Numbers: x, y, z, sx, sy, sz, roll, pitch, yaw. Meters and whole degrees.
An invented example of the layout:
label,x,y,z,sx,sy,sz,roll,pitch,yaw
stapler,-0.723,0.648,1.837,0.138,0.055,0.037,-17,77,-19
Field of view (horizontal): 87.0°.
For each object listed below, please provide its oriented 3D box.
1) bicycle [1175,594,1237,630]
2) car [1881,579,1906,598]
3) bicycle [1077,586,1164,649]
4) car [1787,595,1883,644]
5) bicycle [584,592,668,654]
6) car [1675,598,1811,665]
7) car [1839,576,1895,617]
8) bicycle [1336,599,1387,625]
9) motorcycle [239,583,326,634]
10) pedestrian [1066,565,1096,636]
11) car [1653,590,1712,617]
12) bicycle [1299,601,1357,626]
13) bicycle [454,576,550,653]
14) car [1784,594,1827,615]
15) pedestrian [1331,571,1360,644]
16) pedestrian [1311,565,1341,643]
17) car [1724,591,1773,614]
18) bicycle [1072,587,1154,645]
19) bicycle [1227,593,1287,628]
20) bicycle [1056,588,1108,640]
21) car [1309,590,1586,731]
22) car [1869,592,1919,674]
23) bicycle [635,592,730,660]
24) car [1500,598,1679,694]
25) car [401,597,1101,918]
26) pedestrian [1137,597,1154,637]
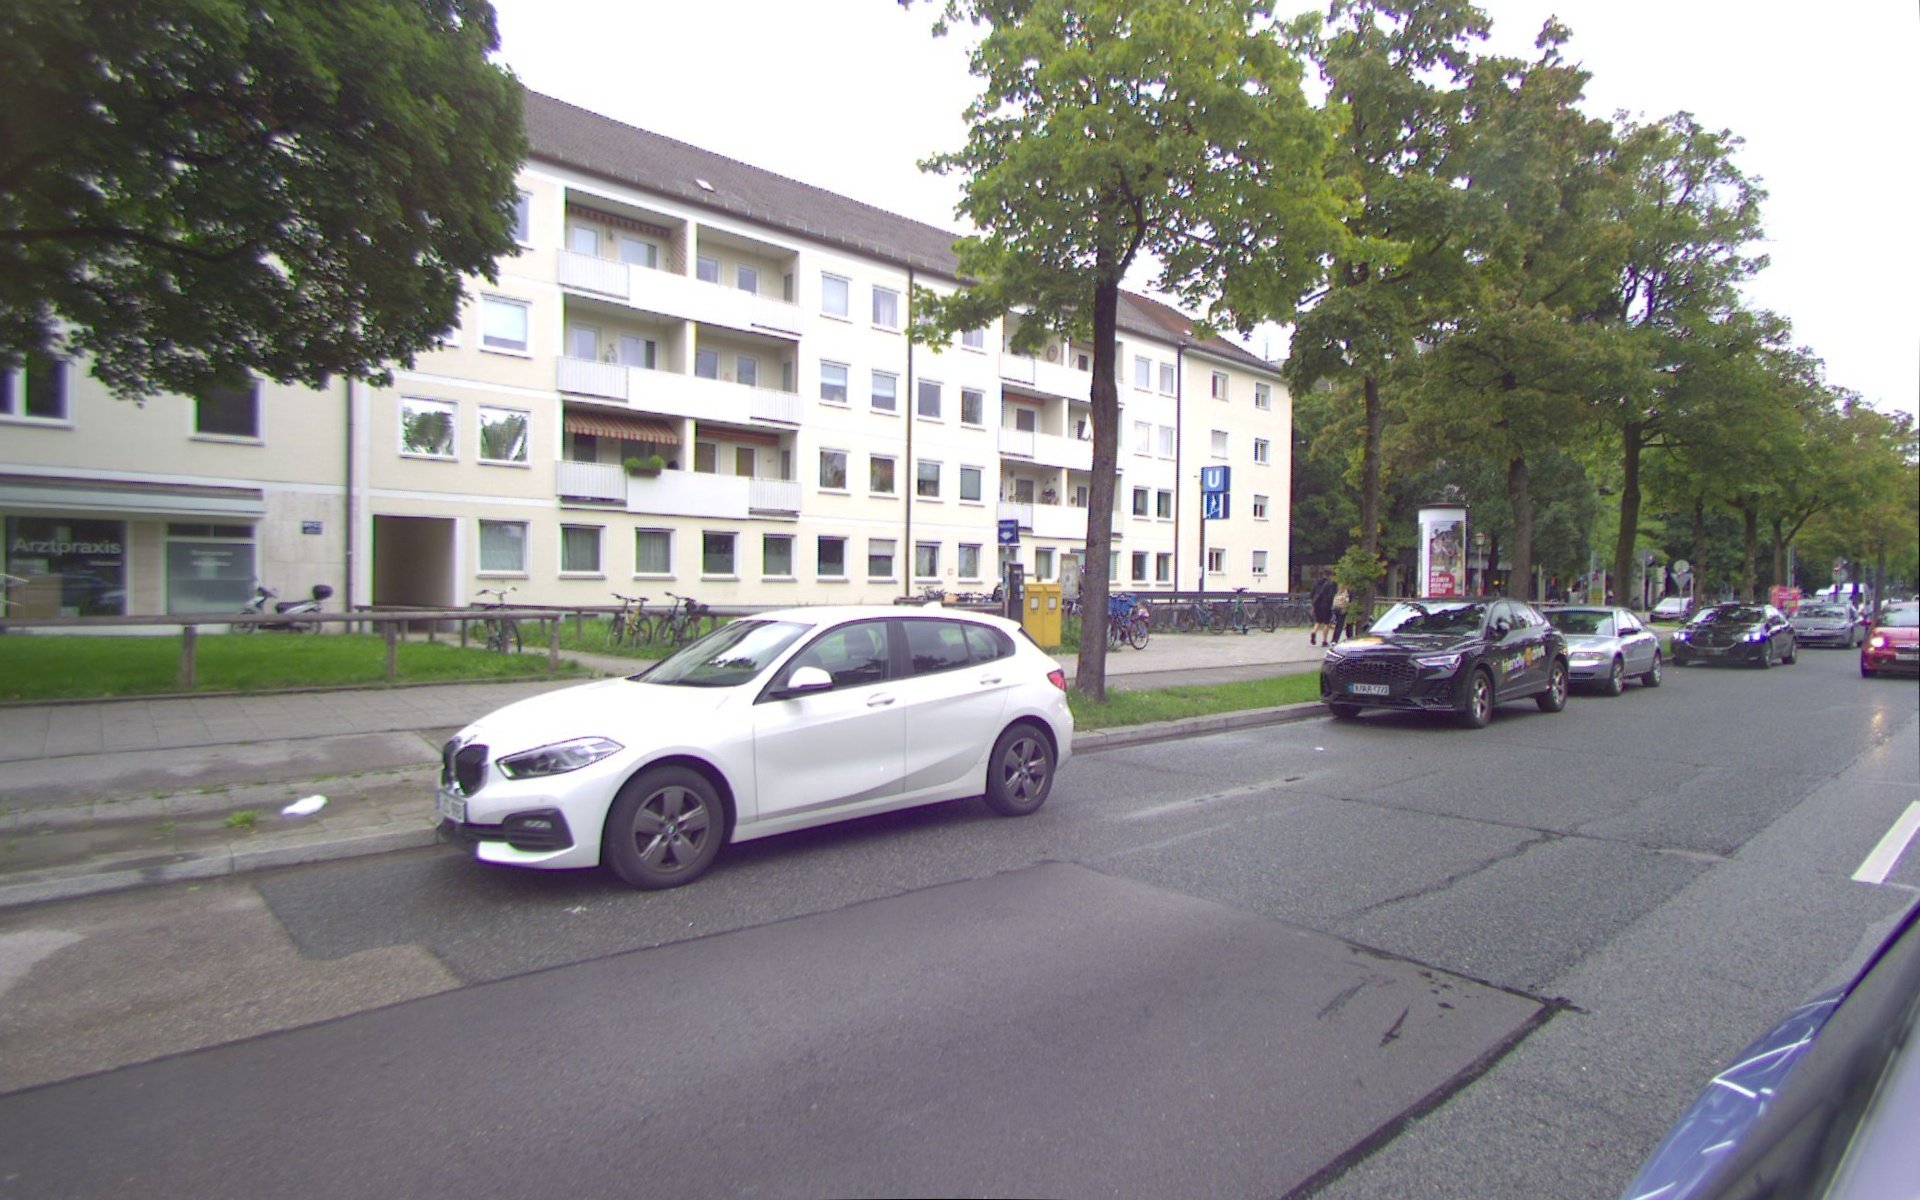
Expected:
label,x,y,z,sx,sy,sz,roll,pitch,yaw
bicycle,6.641,0.320,27.356,0.491,0.927,1.595,0,1,-45
car,120.945,-1.471,131.085,4.915,2.485,1.996,0,1,-43
bicycle,3.277,0.334,20.552,2.039,1.203,0.545,0,1,-41
car,28.509,0.586,32.934,4.226,1.487,1.825,0,1,-41
bicycle,-6.332,0.407,19.121,0.653,1.081,2.027,0,1,-45
car,18.220,0.656,23.484,4.228,1.397,1.824,0,1,-43
car,56.921,-0.245,63.490,4.913,2.485,1.997,-1,0,-41
bicycle,12.675,0.371,31.950,0.491,0.722,1.389,0,3,-45
motorcycle,-15.475,0.175,23.149,1.593,1.134,0.606,0,1,-41
pedestrian,2.919,0.012,24.427,0.555,1.694,0.515,1,0,29
car,41.575,0.181,58.210,4.226,1.487,1.825,0,1,-41
bicycle,11.363,0.414,31.254,0.491,0.645,1.596,0,4,-45
bicycle,-6.912,0.182,15.225,0.653,1.081,2.027,0,1,-45
car,62.282,0.320,74.550,4.226,1.487,1.825,0,1,-41
pedestrian,8.783,0.156,23.050,0.555,1.625,0.515,1,0,29
pedestrian,8.510,0.076,23.544,0.555,1.778,0.651,1,0,29
car,52.684,0.155,67.563,4.226,1.487,1.825,0,1,-41
bicycle,3.318,0.320,21.803,2.039,1.203,0.545,0,1,-41
bicycle,8.475,0.290,28.899,0.491,0.927,1.595,0,2,-45
bicycle,2.778,0.307,22.957,1.231,1.130,0.466,0,1,-41
car,6.395,0.641,13.082,4.086,1.530,1.824,0,1,-42
car,19.431,0.599,20.063,4.228,1.519,1.720,0,1,-43
bicycle,-4.791,0.415,17.372,0.653,1.081,2.027,0,1,-45
car,10.650,0.686,17.020,3.860,1.397,1.615,0,1,-43
car,-1.146,0.724,6.703,4.213,1.455,1.824,0,-1,-41
pedestrian,4.384,0.389,23.954,0.333,0.932,0.393,1,0,21
